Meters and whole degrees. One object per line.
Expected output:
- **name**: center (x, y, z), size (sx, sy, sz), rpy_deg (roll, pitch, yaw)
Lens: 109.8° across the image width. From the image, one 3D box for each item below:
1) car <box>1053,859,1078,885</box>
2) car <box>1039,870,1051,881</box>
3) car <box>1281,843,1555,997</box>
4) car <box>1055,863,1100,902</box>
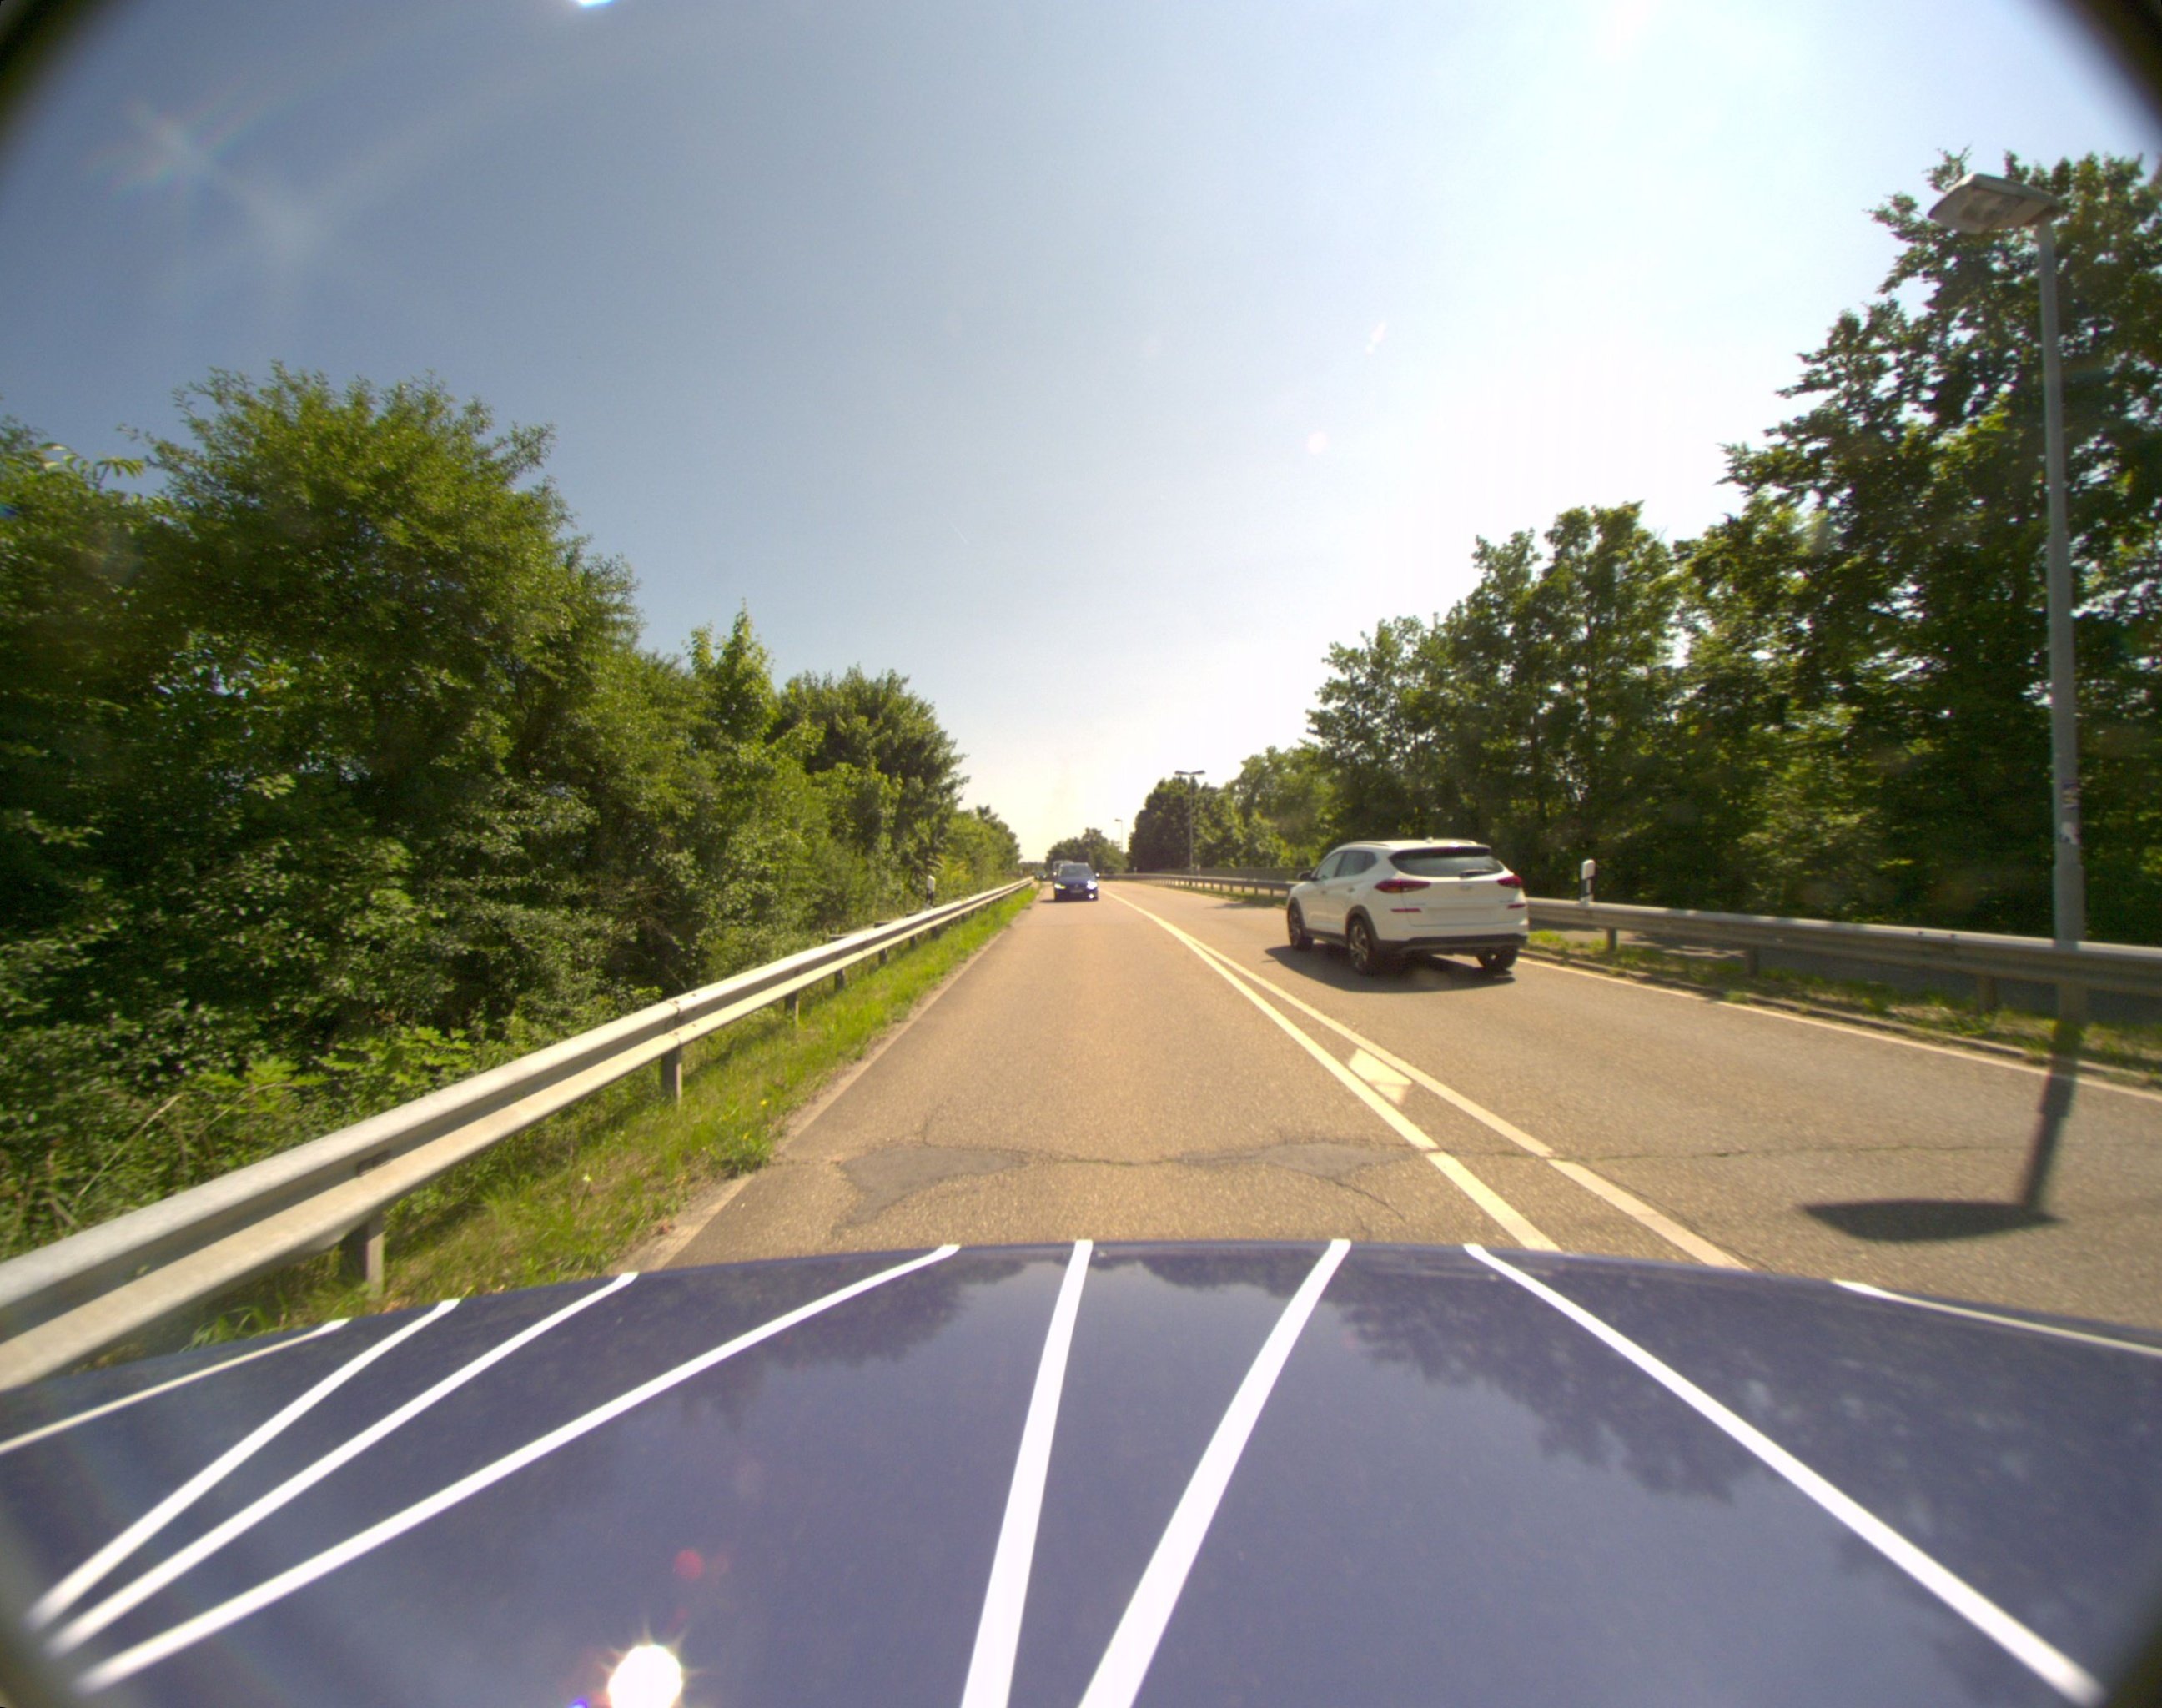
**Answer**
- **car**: center (-1.324, 1.450, 62.606), size (1.765, 1.953, 4.261), rpy_deg (-3, -1, -3)
- **car**: center (-5.703, 3.376, 119.675), size (1.765, 1.530, 3.683), rpy_deg (0, 0, -4)
- **car**: center (4.253, 0.727, 10.427), size (1.829, 1.630, 4.140), rpy_deg (-2, 0, -1)
- **car**: center (-0.201, 1.166, 32.308), size (1.765, 1.519, 4.422), rpy_deg (0, -1, -2)
